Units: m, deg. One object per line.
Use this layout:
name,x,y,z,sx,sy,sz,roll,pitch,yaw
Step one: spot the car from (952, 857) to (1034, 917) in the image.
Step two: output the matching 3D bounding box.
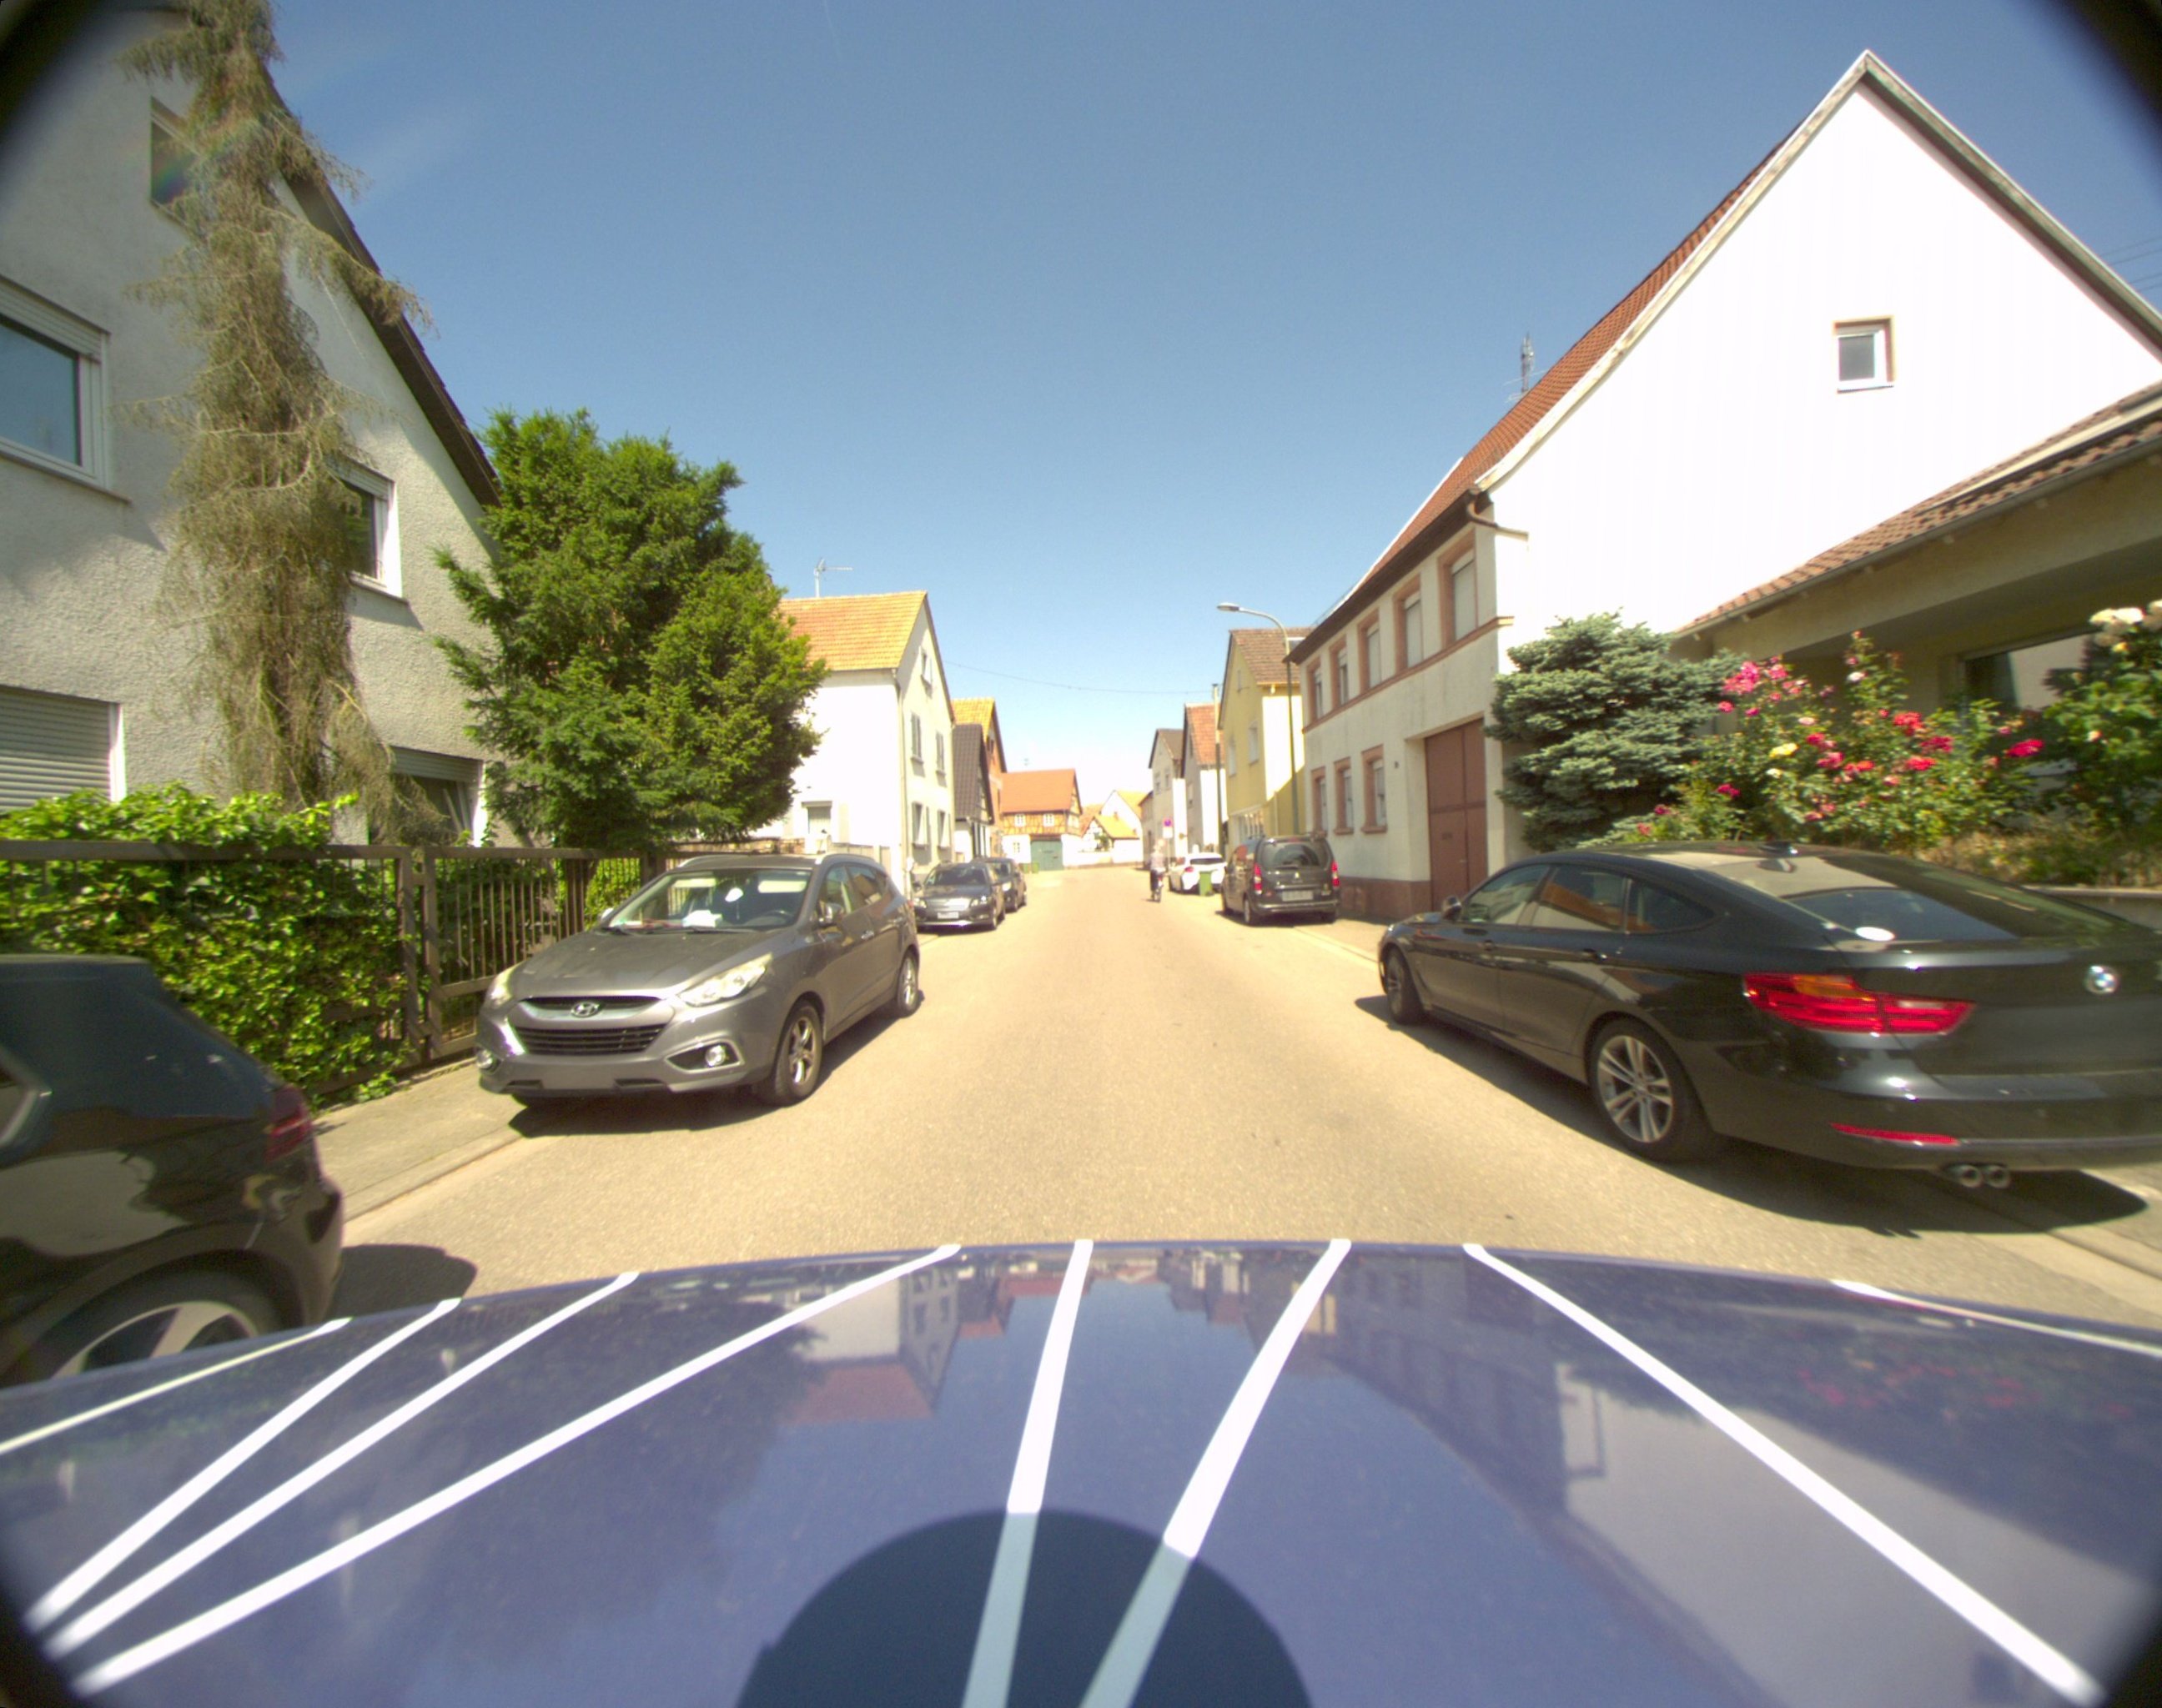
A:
car,-2.568,0.919,23.197,1.802,1.551,4.631,-2,0,1

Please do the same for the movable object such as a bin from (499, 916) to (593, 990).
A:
movable object such as a bin,-7.497,1.379,10.671,0.884,0.943,0.569,-1,0,-1

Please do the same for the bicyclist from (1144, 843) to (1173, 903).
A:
bicyclist,2.347,0.578,23.078,0.705,1.760,0.624,-4,1,-3

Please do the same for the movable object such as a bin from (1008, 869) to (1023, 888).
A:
movable object such as a bin,-3.269,1.202,37.954,0.538,0.908,0.552,-2,1,18

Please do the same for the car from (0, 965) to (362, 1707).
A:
car,-3.006,1.073,0.160,1.716,1.455,4.065,-2,0,2

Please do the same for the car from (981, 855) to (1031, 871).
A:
car,-7.890,0.954,80.232,4.760,1.443,2.002,-2,0,12

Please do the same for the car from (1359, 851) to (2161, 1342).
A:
car,3.538,0.786,4.837,1.849,1.518,4.765,-3,0,2

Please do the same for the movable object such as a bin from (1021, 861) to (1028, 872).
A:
movable object such as a bin,-5.053,1.133,68.360,0.466,0.965,0.496,-2,0,8

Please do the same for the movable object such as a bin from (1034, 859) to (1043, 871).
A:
movable object such as a bin,-3.856,1.012,69.146,0.688,1.085,0.638,-2,0,9

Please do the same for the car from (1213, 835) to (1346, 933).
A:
car,4.186,0.569,16.780,1.839,1.827,4.353,-2,0,2

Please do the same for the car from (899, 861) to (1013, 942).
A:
car,-2.704,0.966,17.502,1.824,1.499,4.581,-2,0,0

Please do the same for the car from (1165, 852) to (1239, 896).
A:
car,4.374,0.682,28.133,1.839,1.455,4.269,-2,0,-2

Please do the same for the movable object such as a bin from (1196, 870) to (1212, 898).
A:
movable object such as a bin,4.104,1.010,25.313,0.425,0.899,0.496,-2,1,17

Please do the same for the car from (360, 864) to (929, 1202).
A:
car,-2.646,0.939,6.008,1.798,1.621,4.361,-2,0,2

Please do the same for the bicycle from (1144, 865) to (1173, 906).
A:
bicycle,2.316,0.920,22.893,0.591,1.141,1.948,-1,0,-2

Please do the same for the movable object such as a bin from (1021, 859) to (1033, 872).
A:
movable object such as a bin,-4.744,0.999,67.102,0.763,1.066,0.671,-3,0,-32
